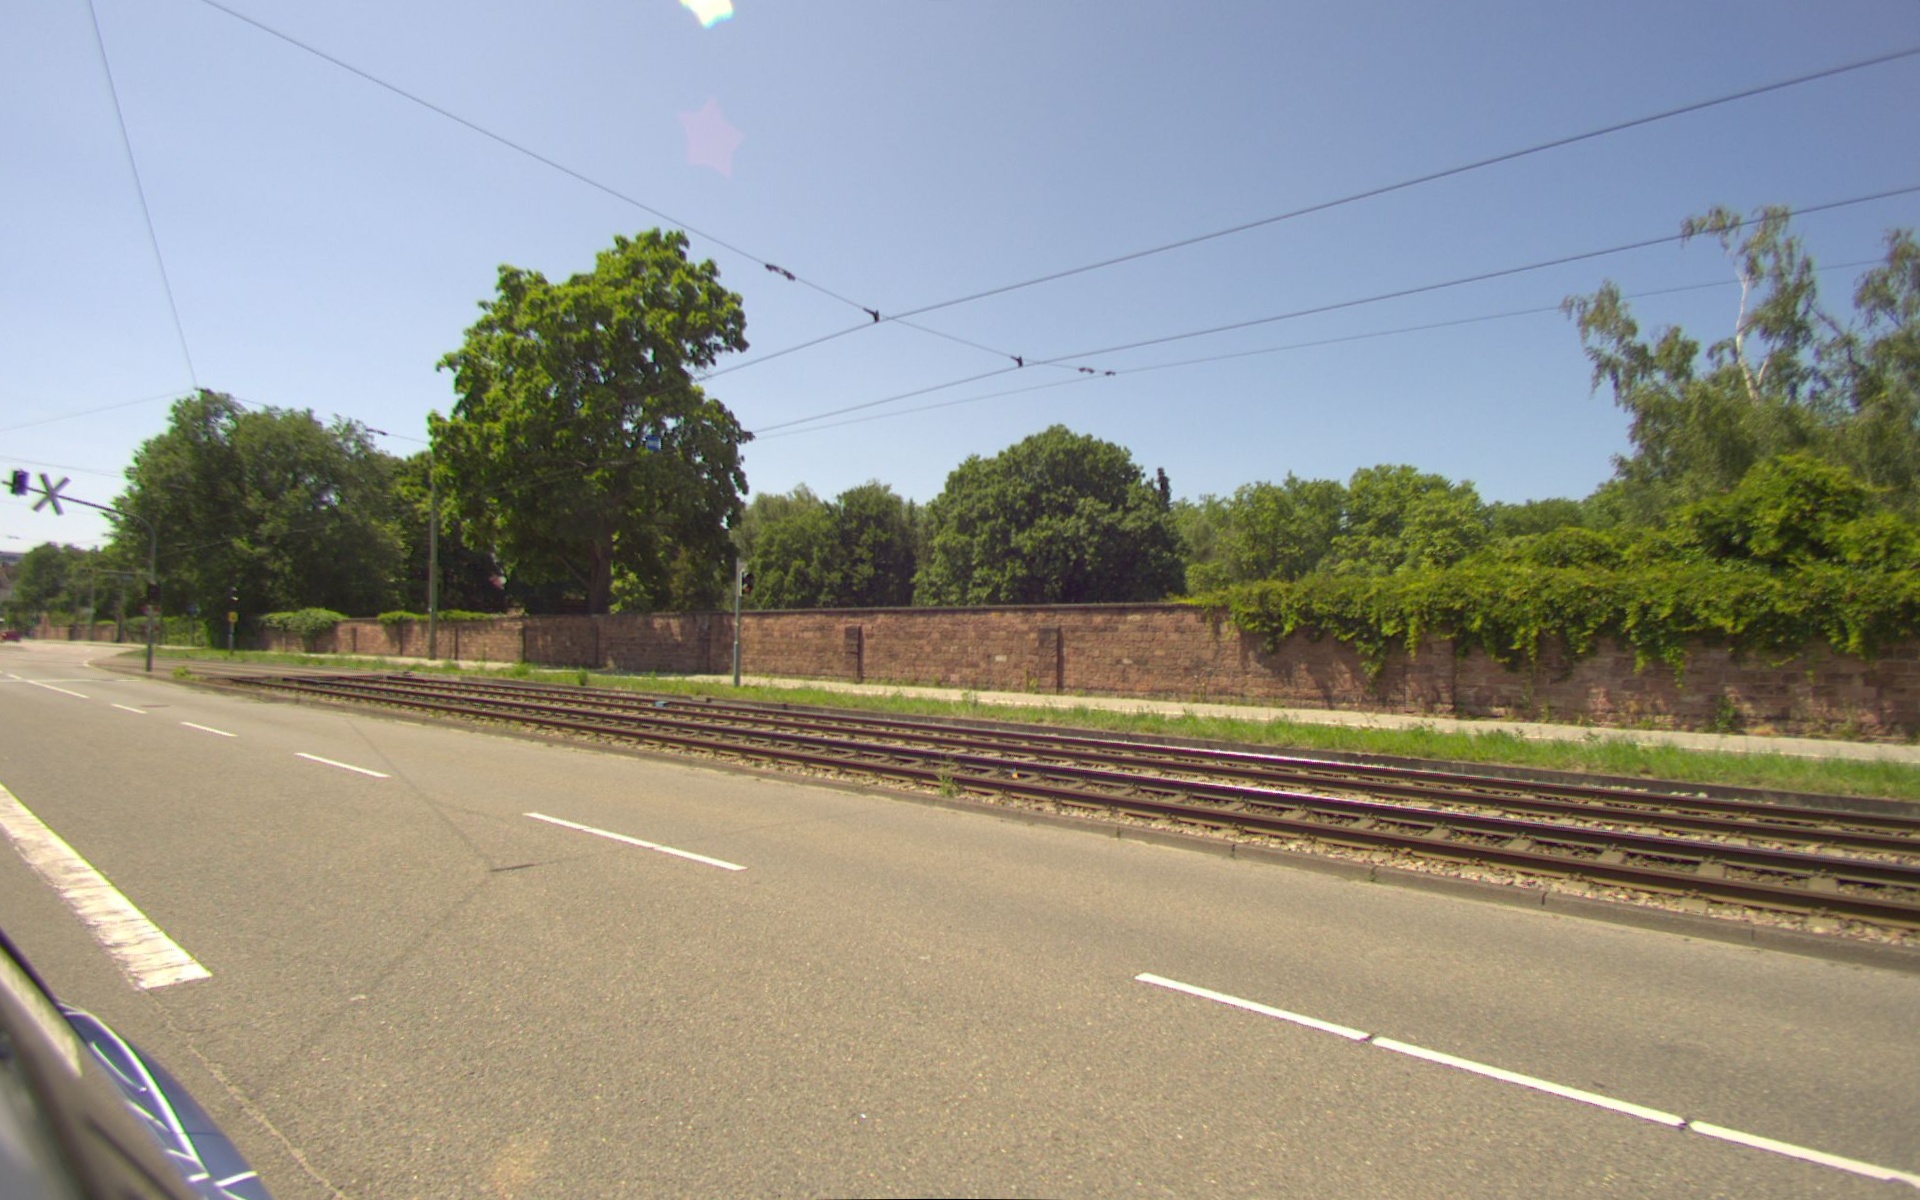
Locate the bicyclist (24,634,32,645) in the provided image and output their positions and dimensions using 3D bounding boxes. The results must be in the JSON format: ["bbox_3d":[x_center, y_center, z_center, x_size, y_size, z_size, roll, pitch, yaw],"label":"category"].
[{"bbox_3d":[-127.506,5.453,138.445,0.662,1.508,0.645,-2,-3,40],"label":"bicyclist"}]

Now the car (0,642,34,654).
[{"bbox_3d":[-113.563,5.749,121.709,1.682,1.425,4.295,1,-2,-20],"label":"car"}]

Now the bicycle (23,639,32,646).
[{"bbox_3d":[-127.486,5.821,138.409,2.113,0.964,0.645,-2,-3,40],"label":"bicycle"}]
